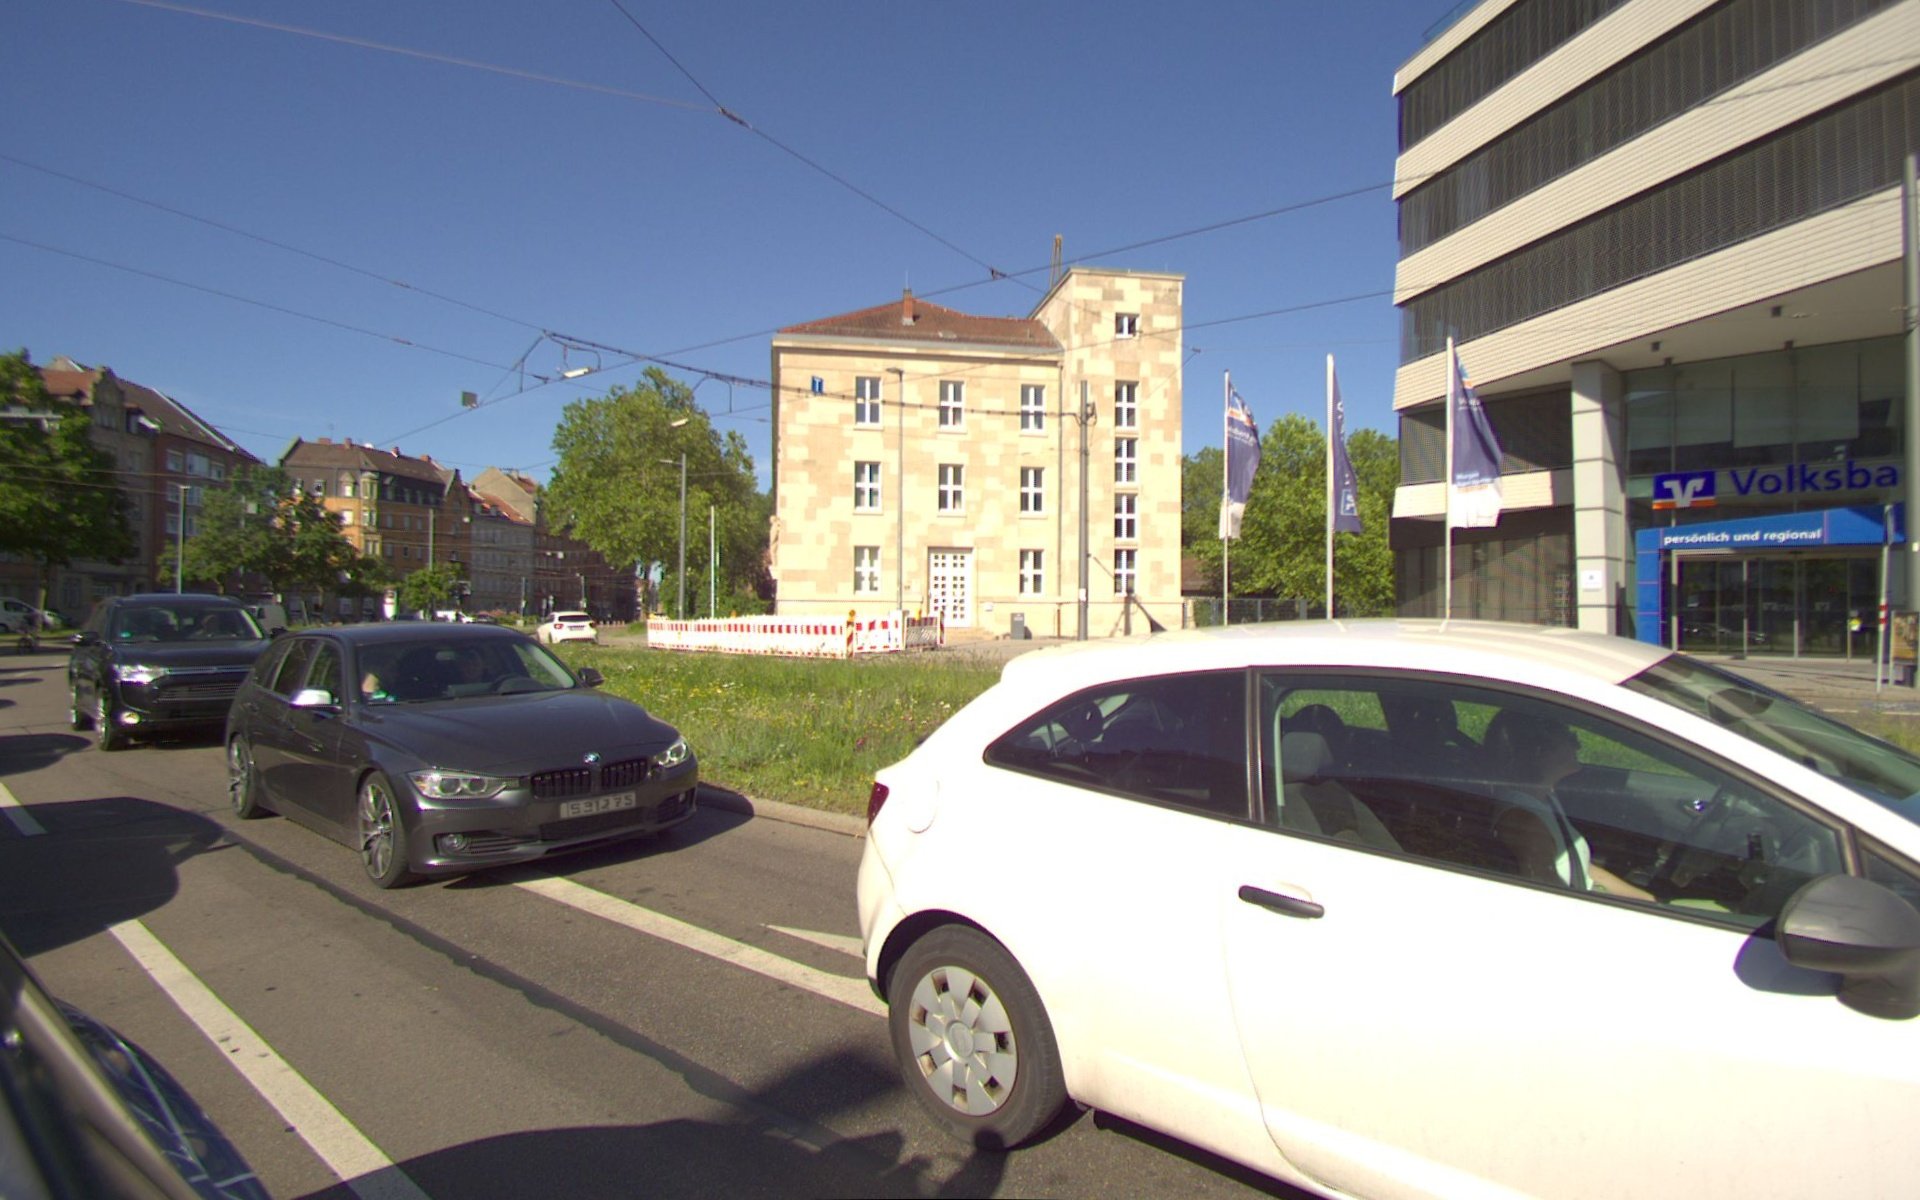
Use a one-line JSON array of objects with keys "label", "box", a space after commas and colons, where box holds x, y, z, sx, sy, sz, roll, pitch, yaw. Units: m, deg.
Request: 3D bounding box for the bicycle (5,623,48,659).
[{"label": "bicycle", "box": [-36.880, 1.619, 40.015, 0.724, 1.371, 2.082, 1, -1, -28]}]

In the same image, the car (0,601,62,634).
[{"label": "car", "box": [-49.927, 0.885, 52.795, 4.514, 1.680, 1.601, 2, -2, -43]}]

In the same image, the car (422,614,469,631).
[{"label": "car", "box": [-58.610, 2.566, 115.324, 4.513, 1.889, 2.006, -1, 0, -16]}]

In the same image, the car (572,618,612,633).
[{"label": "car", "box": [-41.792, 2.934, 115.088, 4.005, 1.669, 1.770, 1, -1, -8]}]

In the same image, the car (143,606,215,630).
[{"label": "car", "box": [-53.927, 1.266, 69.877, 3.771, 1.603, 1.601, 2, -2, -44]}]

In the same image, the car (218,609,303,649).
[{"label": "car", "box": [-38.483, 1.583, 55.828, 1.952, 2.101, 4.722, 1, -1, -9]}]

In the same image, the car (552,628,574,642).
[{"label": "car", "box": [-50.301, 4.386, 128.327, 1.811, 1.659, 4.157, 1, -1, -10]}]

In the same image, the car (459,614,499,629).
[{"label": "car", "box": [-56.275, 2.514, 118.397, 4.001, 1.669, 1.772, 1, -1, -16]}]

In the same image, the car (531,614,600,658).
[{"label": "car", "box": [-15.778, 1.420, 40.389, 1.795, 1.658, 4.193, 0, -1, -32]}]

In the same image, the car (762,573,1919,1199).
[{"label": "car", "box": [1.482, 0.691, 2.482, 4.020, 1.452, 1.714, 0, 2, 40]}]

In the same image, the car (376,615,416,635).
[{"label": "car", "box": [-43.491, 1.881, 78.159, 1.809, 1.483, 4.728, 1, -1, -19]}]

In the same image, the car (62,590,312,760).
[{"label": "car", "box": [-9.379, 0.769, 12.132, 1.817, 1.658, 4.400, -1, -1, -45]}]

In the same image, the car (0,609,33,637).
[{"label": "car", "box": [-48.762, 1.145, 50.389, 3.768, 1.390, 1.602, 2, -2, -41]}]

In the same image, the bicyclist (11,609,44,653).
[{"label": "bicyclist", "box": [-36.873, 1.222, 40.036, 0.723, 1.707, 0.974, 1, -1, -28]}]

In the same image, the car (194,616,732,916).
[{"label": "car", "box": [-3.597, 0.824, 6.881, 4.424, 1.377, 1.719, -1, 0, 41]}]
